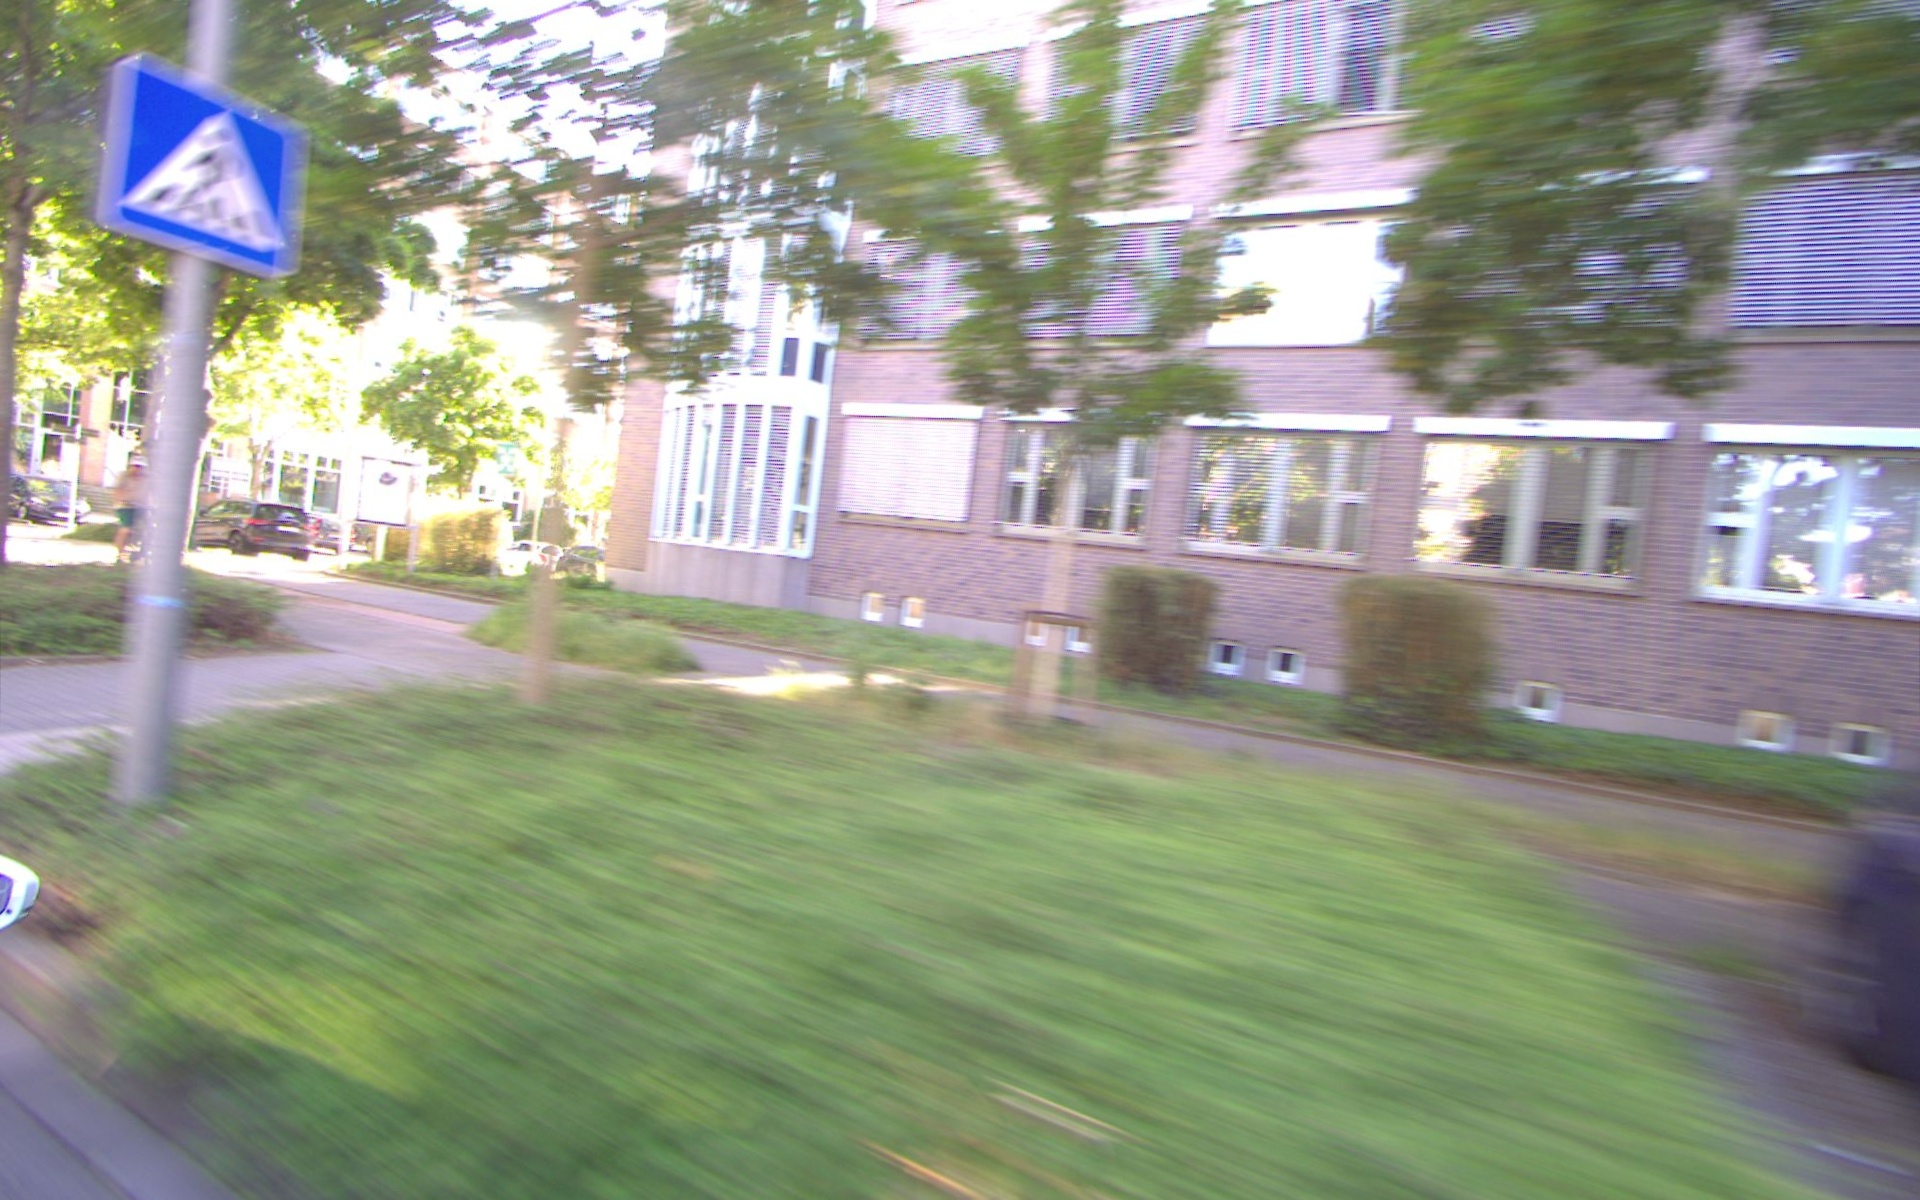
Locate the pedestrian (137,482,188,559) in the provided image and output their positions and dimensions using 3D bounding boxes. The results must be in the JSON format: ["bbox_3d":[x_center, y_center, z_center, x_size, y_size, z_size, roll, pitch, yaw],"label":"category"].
[{"bbox_3d":[-17.894,-1.774,22.579,0.636,1.602,0.539,8,2,19],"label":"pedestrian"}]

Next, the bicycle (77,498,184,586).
[{"bbox_3d":[-12.203,-0.859,14.783,1.887,1.092,0.534,8,2,30],"label":"bicycle"}]

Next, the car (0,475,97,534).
[{"bbox_3d":[-30.325,-3.178,33.058,3.850,1.481,1.655,8,1,29],"label":"car"}]

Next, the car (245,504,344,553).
[{"bbox_3d":[-26.871,-2.893,40.594,4.201,1.479,1.690,7,1,32],"label":"car"}]

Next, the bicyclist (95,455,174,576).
[{"bbox_3d":[-12.095,-1.237,14.739,0.808,1.657,0.537,8,2,30],"label":"bicyclist"}]

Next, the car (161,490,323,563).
[{"bbox_3d":[-19.736,-2.013,27.634,4.289,1.584,1.742,5,-1,27],"label":"car"}]

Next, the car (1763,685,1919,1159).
[{"bbox_3d":[3.617,1.135,2.385,1.625,1.389,4.121,7,2,25],"label":"car"}]

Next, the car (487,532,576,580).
[{"bbox_3d":[-21.330,-2.181,50.090,4.043,1.745,1.920,9,2,30],"label":"car"}]
